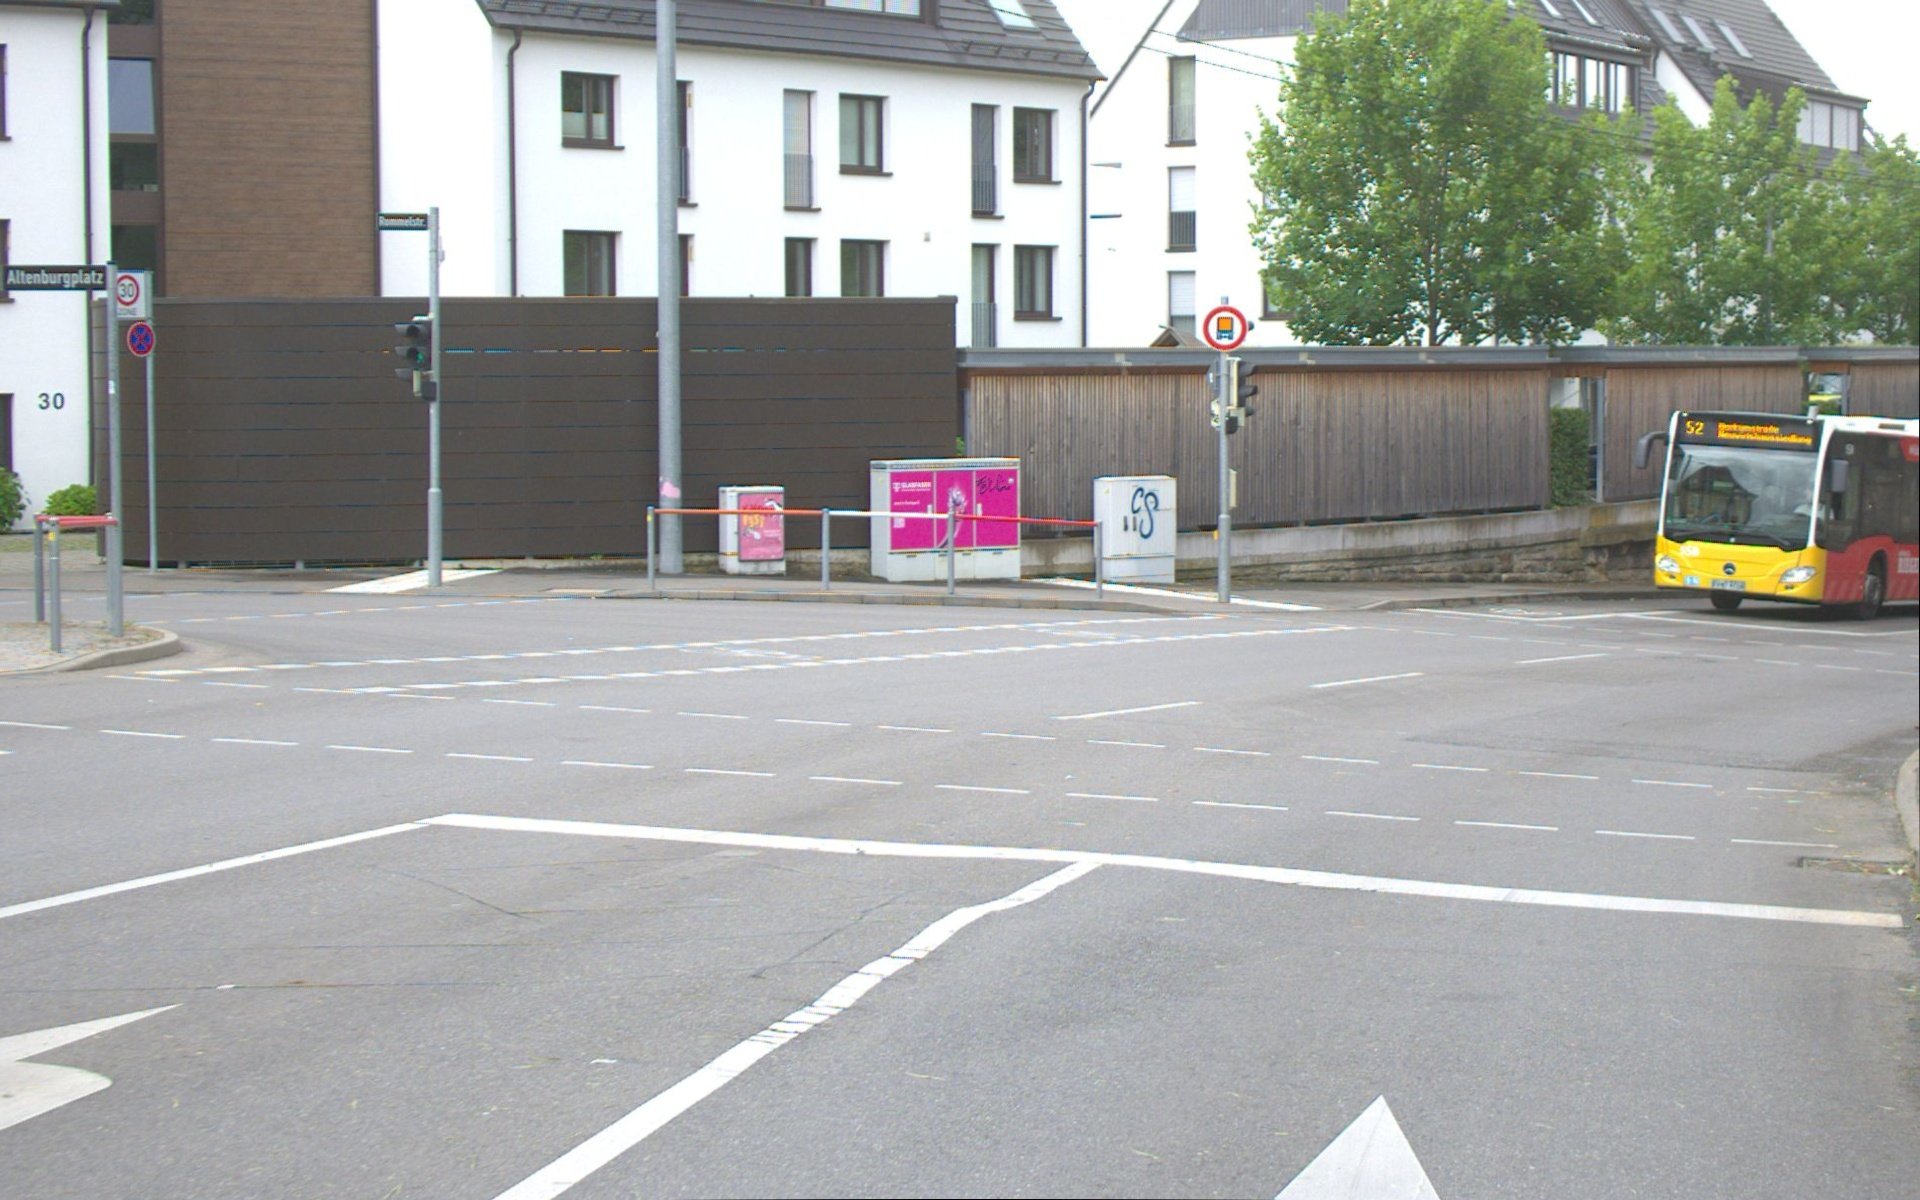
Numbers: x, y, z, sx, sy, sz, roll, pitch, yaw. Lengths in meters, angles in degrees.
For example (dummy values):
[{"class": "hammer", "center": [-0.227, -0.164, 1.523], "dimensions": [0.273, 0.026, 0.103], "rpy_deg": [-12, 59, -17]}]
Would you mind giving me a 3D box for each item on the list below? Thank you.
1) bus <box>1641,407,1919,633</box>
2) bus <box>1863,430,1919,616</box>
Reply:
[{"class": "bus", "center": [13.903, -1.213, 53.807], "dimensions": [2.663, 3.111, 10.000], "rpy_deg": [5, 3, 33]}, {"class": "bus", "center": [18.898, -1.286, 61.493], "dimensions": [2.663, 3.110, 8.277], "rpy_deg": [5, 3, 33]}]
